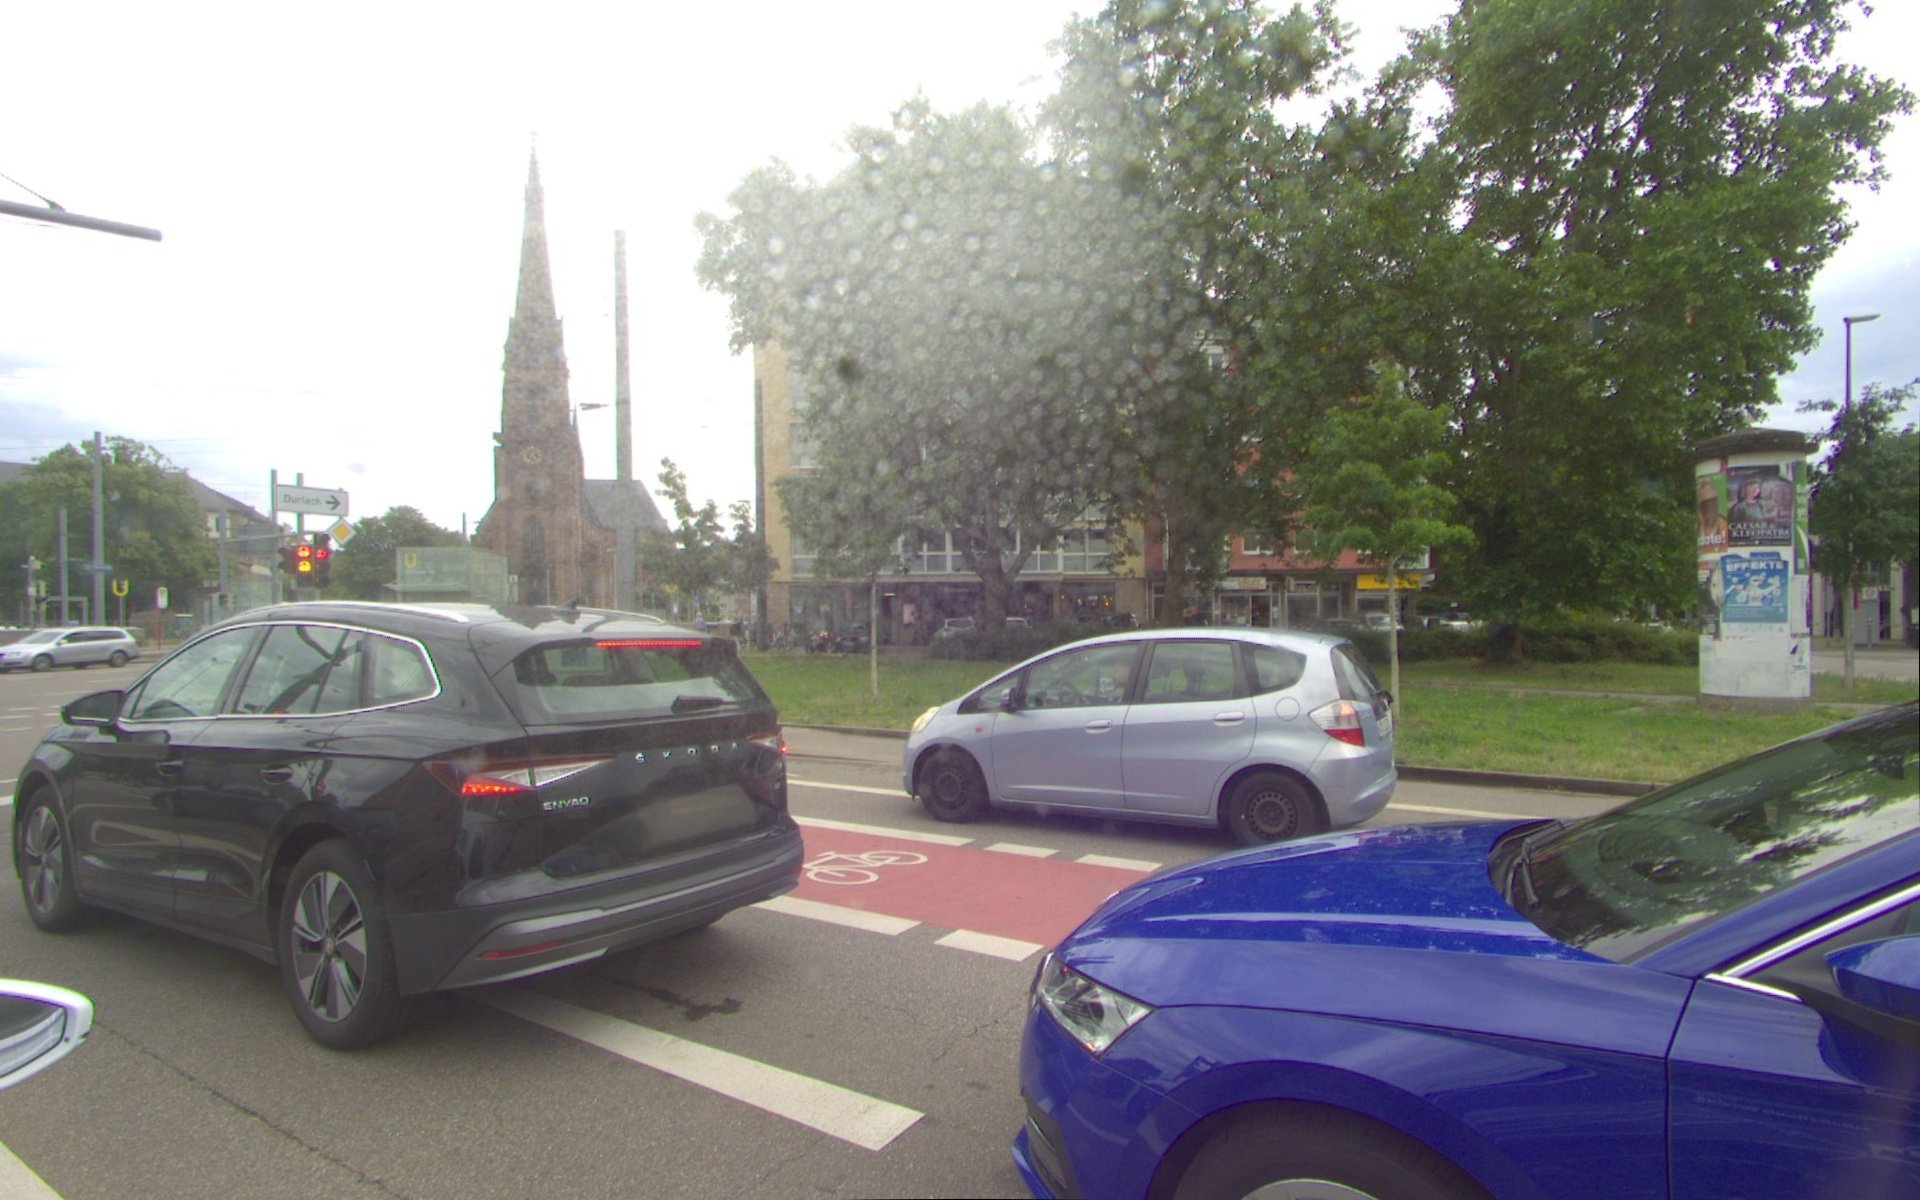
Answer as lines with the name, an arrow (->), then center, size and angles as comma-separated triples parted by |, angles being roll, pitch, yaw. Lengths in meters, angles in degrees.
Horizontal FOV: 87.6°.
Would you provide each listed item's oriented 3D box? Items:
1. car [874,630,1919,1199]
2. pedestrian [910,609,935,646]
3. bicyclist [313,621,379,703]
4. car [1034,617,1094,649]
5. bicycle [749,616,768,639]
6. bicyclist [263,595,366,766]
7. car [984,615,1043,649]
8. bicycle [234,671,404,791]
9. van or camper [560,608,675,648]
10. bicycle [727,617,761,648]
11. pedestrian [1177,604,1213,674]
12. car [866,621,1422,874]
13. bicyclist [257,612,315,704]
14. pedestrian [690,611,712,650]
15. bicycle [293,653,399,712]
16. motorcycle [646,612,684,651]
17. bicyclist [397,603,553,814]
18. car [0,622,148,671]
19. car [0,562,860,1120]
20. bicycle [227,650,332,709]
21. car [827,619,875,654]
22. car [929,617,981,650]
car -> 2.254, 0.780, 1.611 | 4.689, 1.454, 1.762 | -1, -2, 33
pedestrian -> -1.870, 1.345, 49.559 | 1.032, 1.780, 0.786 | -1, 1, -22
bicyclist -> -11.904, 1.178, 19.441 | 0.659, 1.542, 0.886 | 0, 0, 12
car -> 4.763, 1.497, 46.460 | 1.802, 1.353, 3.997 | -1, 0, -9
bicycle -> -10.711, 1.459, 53.257 | 0.657, 1.184, 2.040 | 0, 0, -3
bicyclist -> -6.762, 0.816, 10.498 | 0.794, 1.713, 0.614 | 0, 0, 30
car -> 2.457, 1.451, 47.008 | 1.962, 1.461, 3.997 | -1, 0, -9
bicycle -> -6.743, 1.321, 10.495 | 2.094, 1.069, 0.624 | 0, 0, 31
van or camper -> -18.327, 1.477, 53.742 | 5.404, 2.004, 2.155 | 0, -1, -39
bicycle -> -10.208, 1.503, 47.469 | 0.886, 1.395, 2.784 | 0, 0, 2
pedestrian -> 6.301, 1.037, 26.901 | 0.881, 1.843, 0.866 | 0, 1, 8
car -> 1.341, 0.932, 7.696 | 3.875, 1.502, 1.703 | -1, -2, 31
bicyclist -> -13.434, 1.148, 19.973 | 0.574, 1.775, 0.734 | 0, 2, 6
pedestrian -> -11.839, 1.374, 45.810 | 0.797, 1.760, 0.906 | 0, 1, -2
bicycle -> -11.917, 1.583, 19.506 | 0.590, 1.011, 1.945 | 0, -1, 12
motorcycle -> -11.040, 1.142, 37.541 | 1.027, 1.384, 2.291 | -1, 0, -9
bicyclist -> -4.047, 0.864, 8.370 | 0.919, 1.639, 0.788 | -1, -2, 31
car -> -31.829, 1.584, 35.608 | 1.693, 1.502, 4.626 | 0, 0, 8
car -> -2.857, 0.759, 4.959 | 4.447, 1.680, 1.901 | -1, 0, 30
bicycle -> -13.439, 1.553, 19.853 | 0.568, 1.011, 1.992 | -1, 0, 5
car -> -4.933, 1.636, 45.842 | 1.806, 1.462, 4.166 | -1, 0, -1
car -> -0.298, 1.531, 46.677 | 1.962, 1.483, 3.999 | 0, -1, -7
